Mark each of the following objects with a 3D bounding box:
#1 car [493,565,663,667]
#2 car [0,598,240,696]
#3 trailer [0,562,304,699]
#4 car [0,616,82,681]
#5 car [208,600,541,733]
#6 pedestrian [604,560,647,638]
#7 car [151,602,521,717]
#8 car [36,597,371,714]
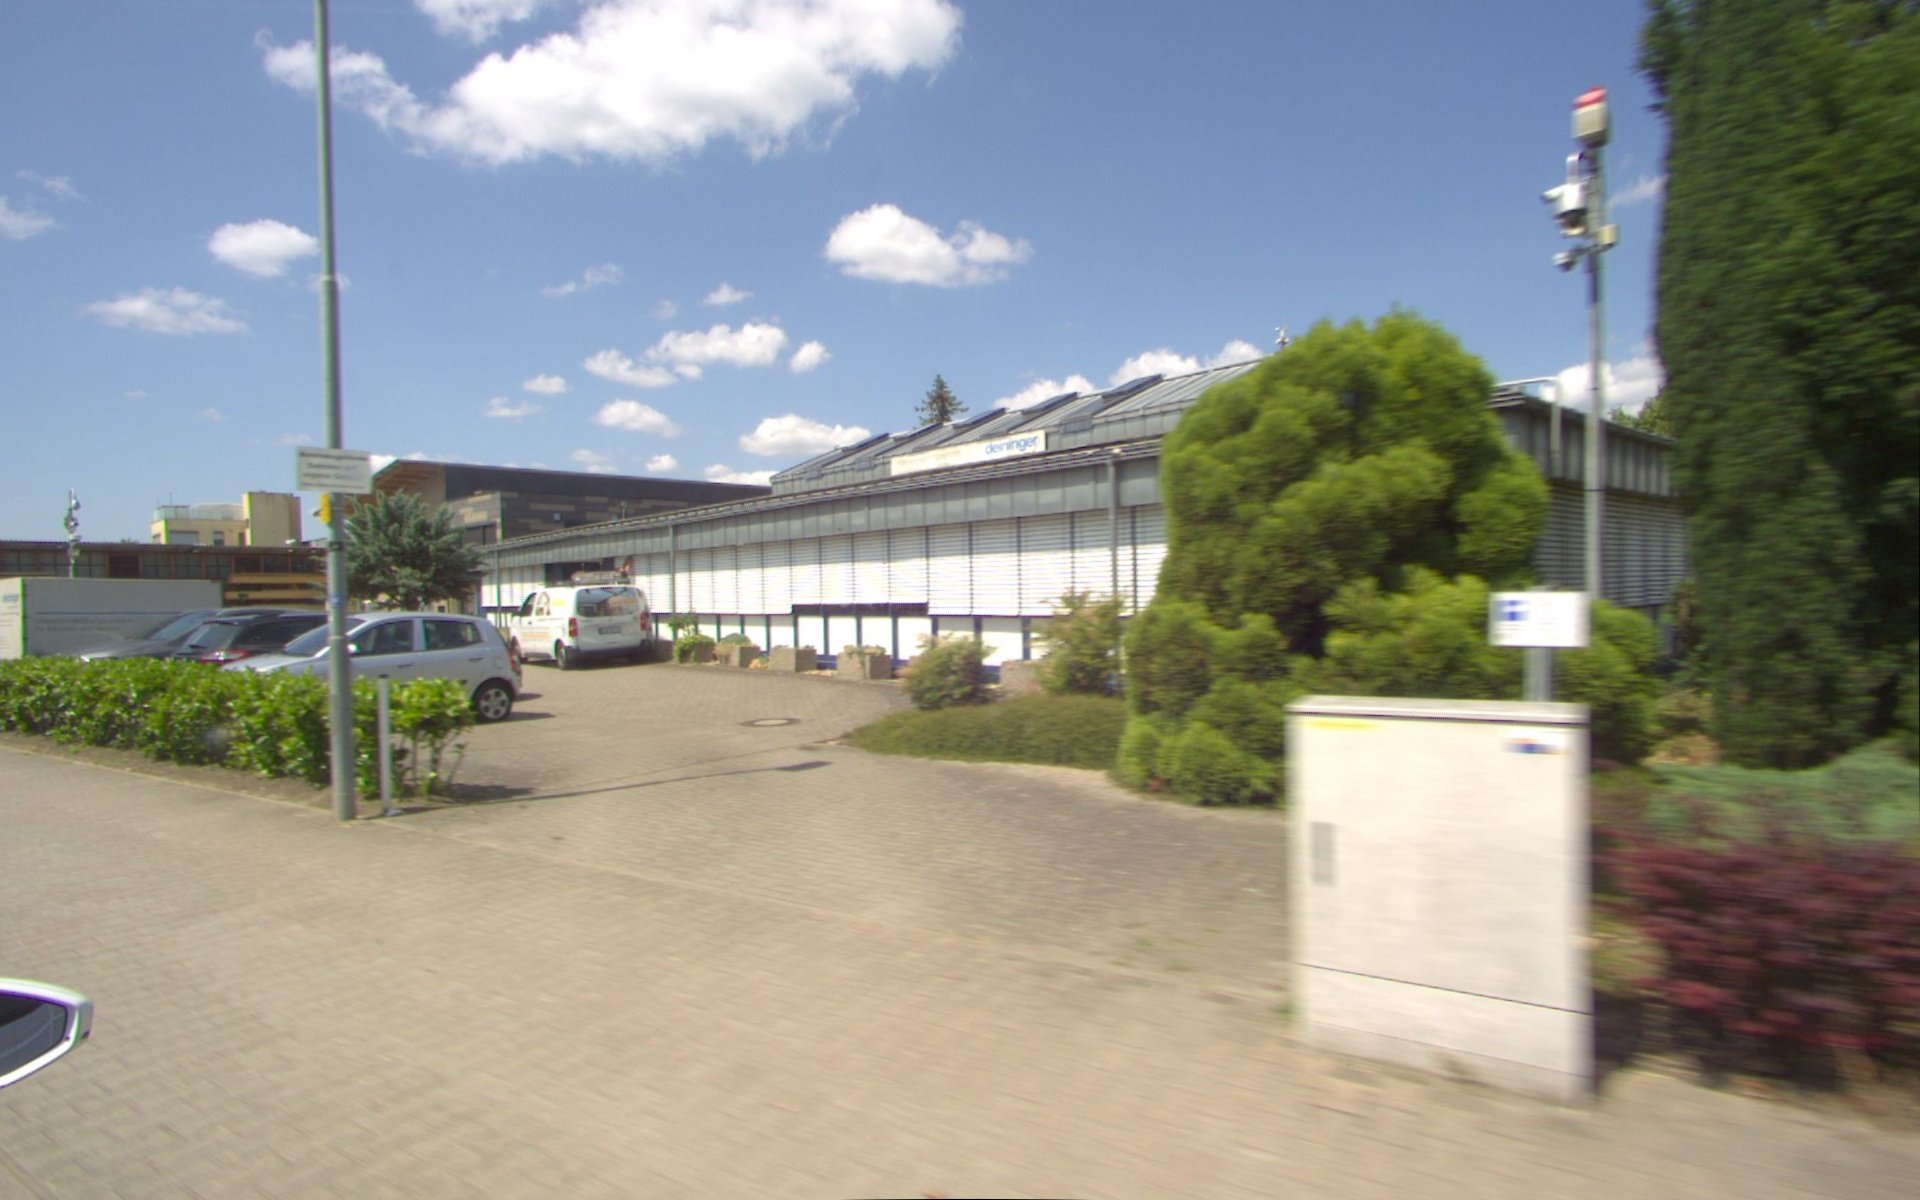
[{"bbox_3d":[-9.283,0.351,24.104,2.085,2.154,4.670,-4,2,-44],"label":"car"},{"bbox_3d":[-17.071,0.888,19.797,1.776,1.655,4.202,-3,0,32],"label":"car"},{"bbox_3d":[-14.532,0.482,18.018,1.974,2.040,3.974,-5,1,34],"label":"trailer"},{"bbox_3d":[-22.957,1.131,23.044,1.792,1.475,3.835,0,0,34],"label":"car"},{"bbox_3d":[-7.546,0.759,13.138,1.747,1.420,3.339,0,1,37],"label":"car"},{"bbox_3d":[-8.651,-0.038,25.907,0.680,1.968,0.714,-2,1,32],"label":"pedestrian"},{"bbox_3d":[-9.216,0.780,15.225,1.788,1.459,4.468,0,0,30],"label":"car"},{"bbox_3d":[-12.273,0.833,16.550,1.688,1.595,4.028,-3,0,28],"label":"car"}]
